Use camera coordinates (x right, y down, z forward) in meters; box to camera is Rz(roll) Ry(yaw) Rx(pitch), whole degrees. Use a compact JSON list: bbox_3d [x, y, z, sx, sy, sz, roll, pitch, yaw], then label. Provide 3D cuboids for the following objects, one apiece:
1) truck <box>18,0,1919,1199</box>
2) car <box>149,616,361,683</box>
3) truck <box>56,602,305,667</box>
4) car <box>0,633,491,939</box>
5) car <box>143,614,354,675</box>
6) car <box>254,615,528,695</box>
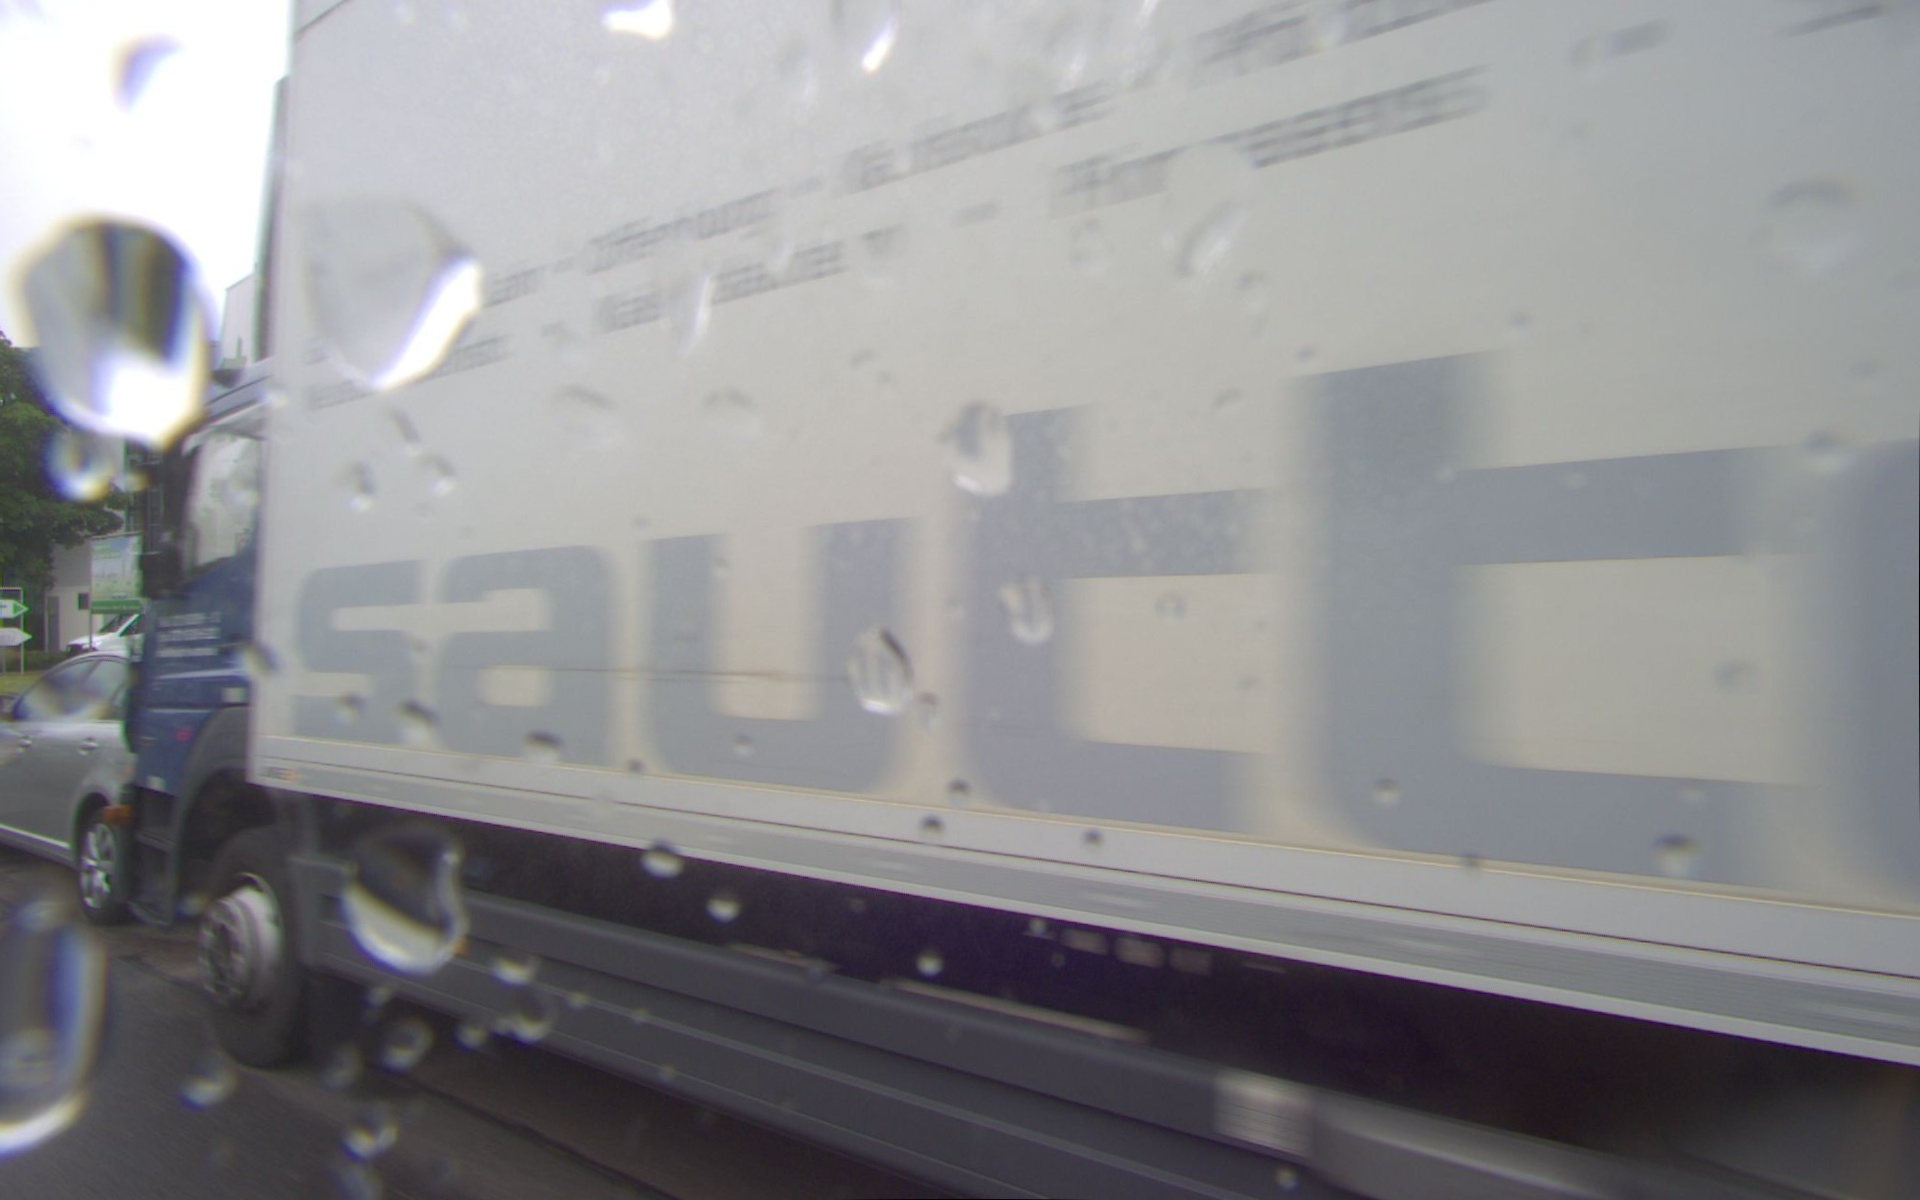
[{"bbox_3d":[0.783,-0.301,2.800,9.167,3.836,2.737,-1,-3,33],"label":"truck"},{"bbox_3d":[-16.681,1.176,23.892,3.716,1.414,1.724,3,-2,-18],"label":"car"},{"bbox_3d":[-28.112,1.208,36.488,2.065,2.167,6.908,-1,-1,33],"label":"truck"},{"bbox_3d":[-5.304,0.977,6.829,4.282,1.460,1.794,-1,-1,32],"label":"car"},{"bbox_3d":[-18.249,1.143,25.883,4.078,1.434,1.687,2,0,-17],"label":"car"},{"bbox_3d":[-11.386,1.066,20.440,4.597,1.487,1.787,0,-1,-20],"label":"car"}]
